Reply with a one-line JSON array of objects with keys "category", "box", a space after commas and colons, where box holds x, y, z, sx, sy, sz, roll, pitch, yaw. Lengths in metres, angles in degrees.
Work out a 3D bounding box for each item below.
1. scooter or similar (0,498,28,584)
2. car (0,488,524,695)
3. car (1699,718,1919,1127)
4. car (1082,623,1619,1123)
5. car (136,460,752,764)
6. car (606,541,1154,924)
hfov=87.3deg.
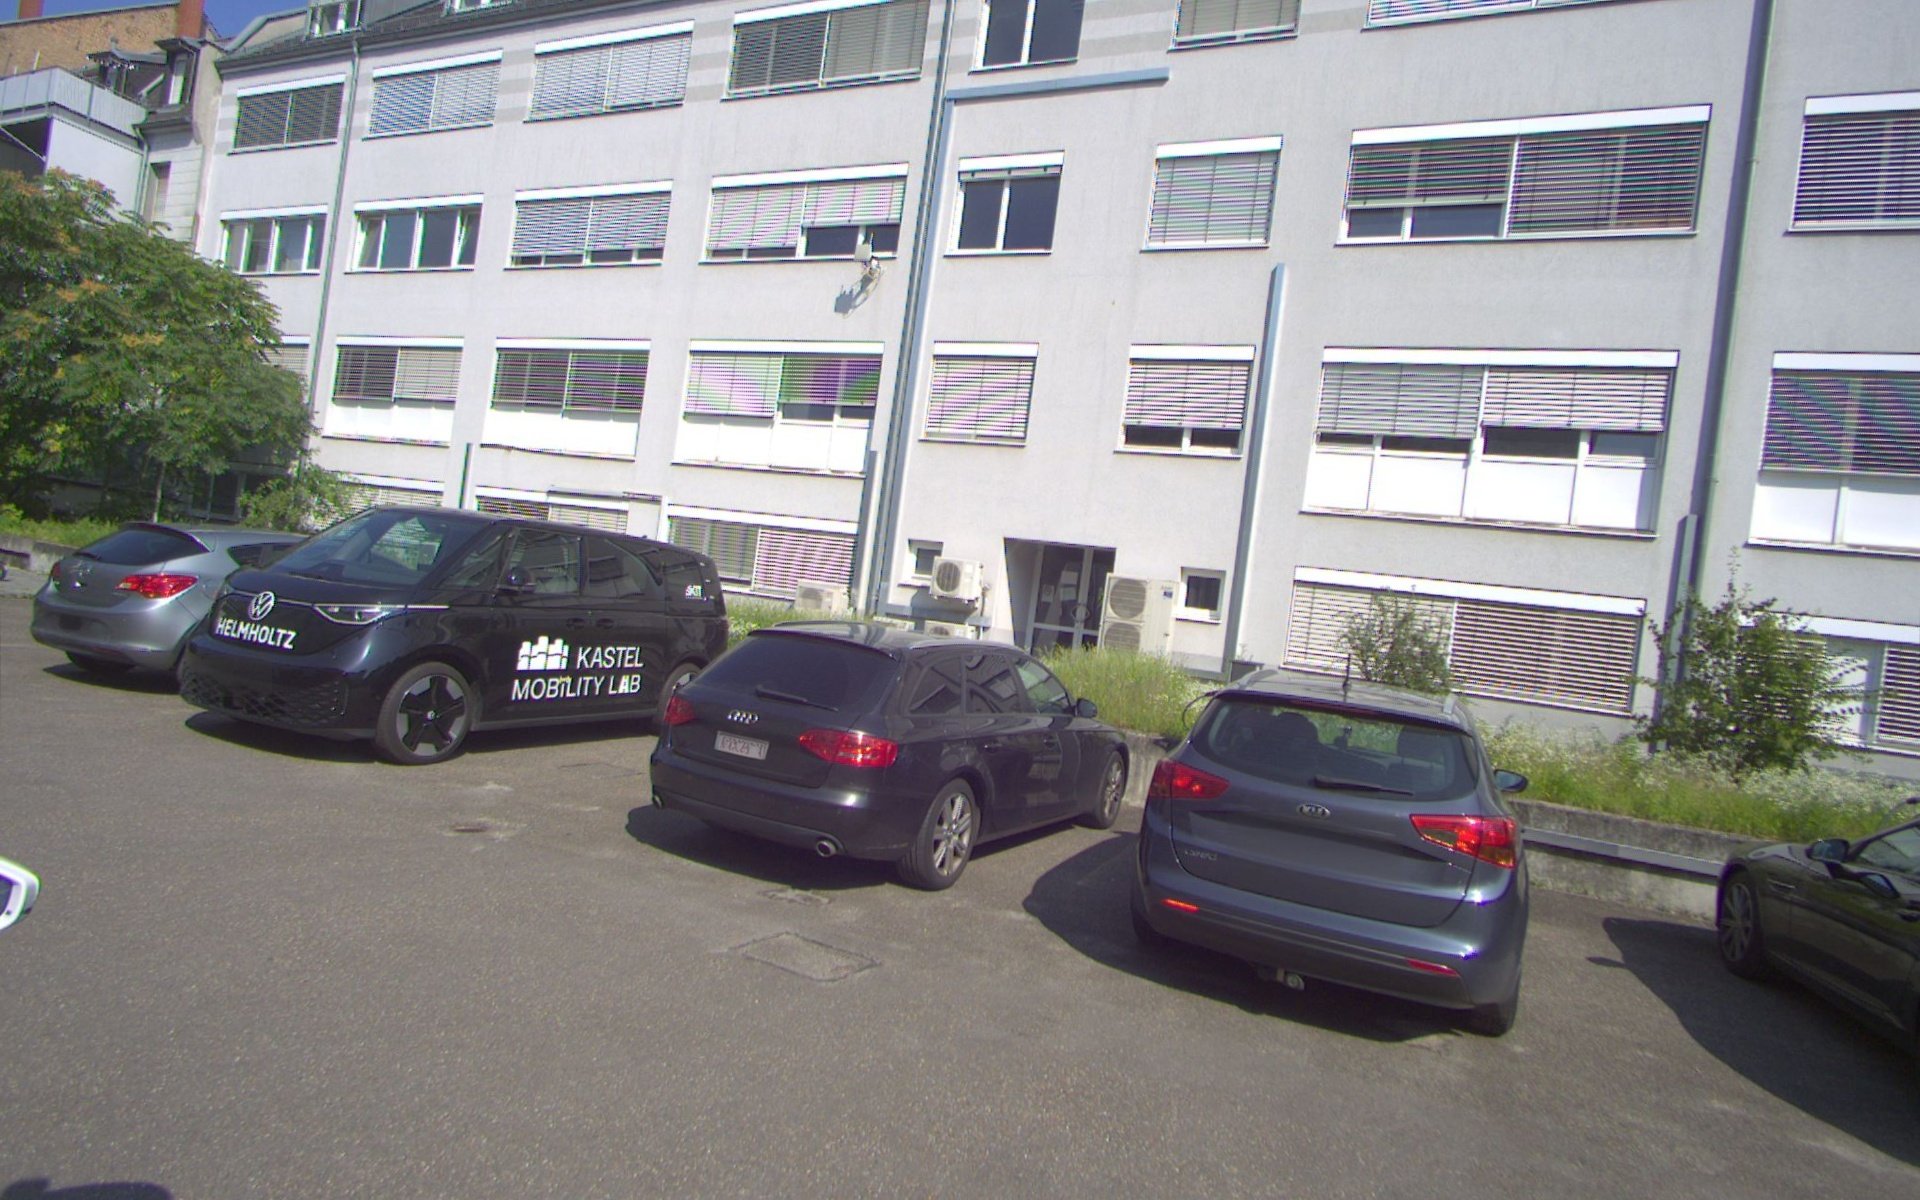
[{"category": "scooter or similar", "box": [-15.164, -0.976, 15.388, 1.324, 1.276, 0.379, 7, 0, -1]}, {"category": "car", "box": [-6.542, 0.036, 9.890, 1.742, 1.499, 3.946, 6, -1, 21]}, {"category": "car", "box": [5.155, 1.525, 4.506, 1.862, 1.607, 3.814, 7, -2, 21]}, {"category": "car", "box": [2.278, 1.171, 5.793, 1.846, 1.607, 3.875, 7, -2, 25]}, {"category": "car", "box": [-3.935, 0.184, 8.722, 1.848, 1.815, 4.516, 6, -1, 21]}, {"category": "car", "box": [-0.172, 0.803, 7.050, 1.740, 1.711, 4.129, 7, -2, 28]}]
